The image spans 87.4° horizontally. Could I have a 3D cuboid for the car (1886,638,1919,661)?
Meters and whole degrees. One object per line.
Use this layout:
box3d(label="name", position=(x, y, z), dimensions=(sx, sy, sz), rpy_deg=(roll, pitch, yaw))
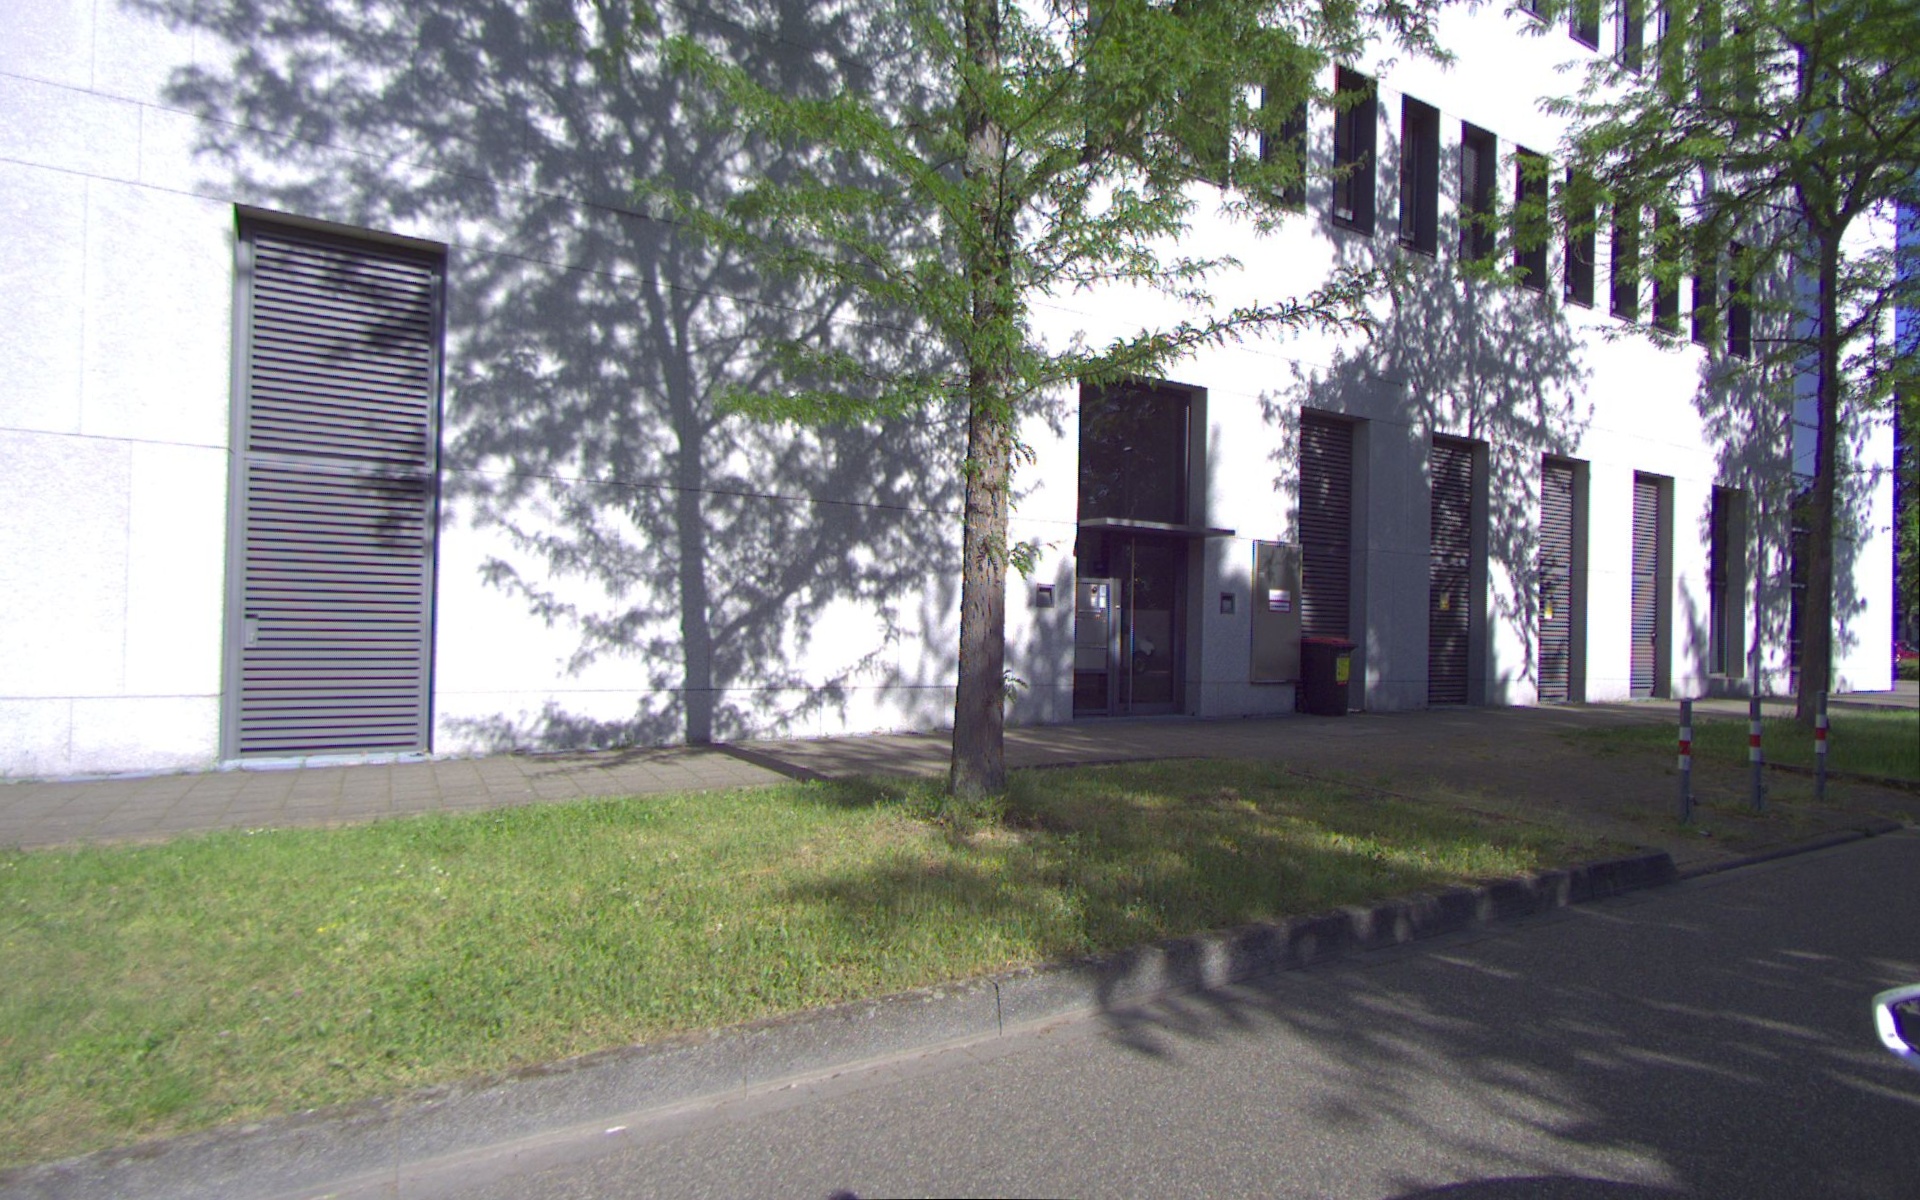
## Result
box3d(label="car", position=(66.109, 3.436, 69.480), dimensions=(3.858, 1.517, 1.829), rpy_deg=(1, -1, -28))

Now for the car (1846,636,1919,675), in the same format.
box3d(label="car", position=(37.557, 2.202, 40.535), dimensions=(3.868, 1.445, 1.658), rpy_deg=(2, 0, -32))

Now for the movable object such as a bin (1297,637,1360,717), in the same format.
box3d(label="movable object such as a bin", position=(5.094, 1.054, 13.897), dimensions=(0.537, 1.054, 0.590), rpy_deg=(1, 0, -31))
